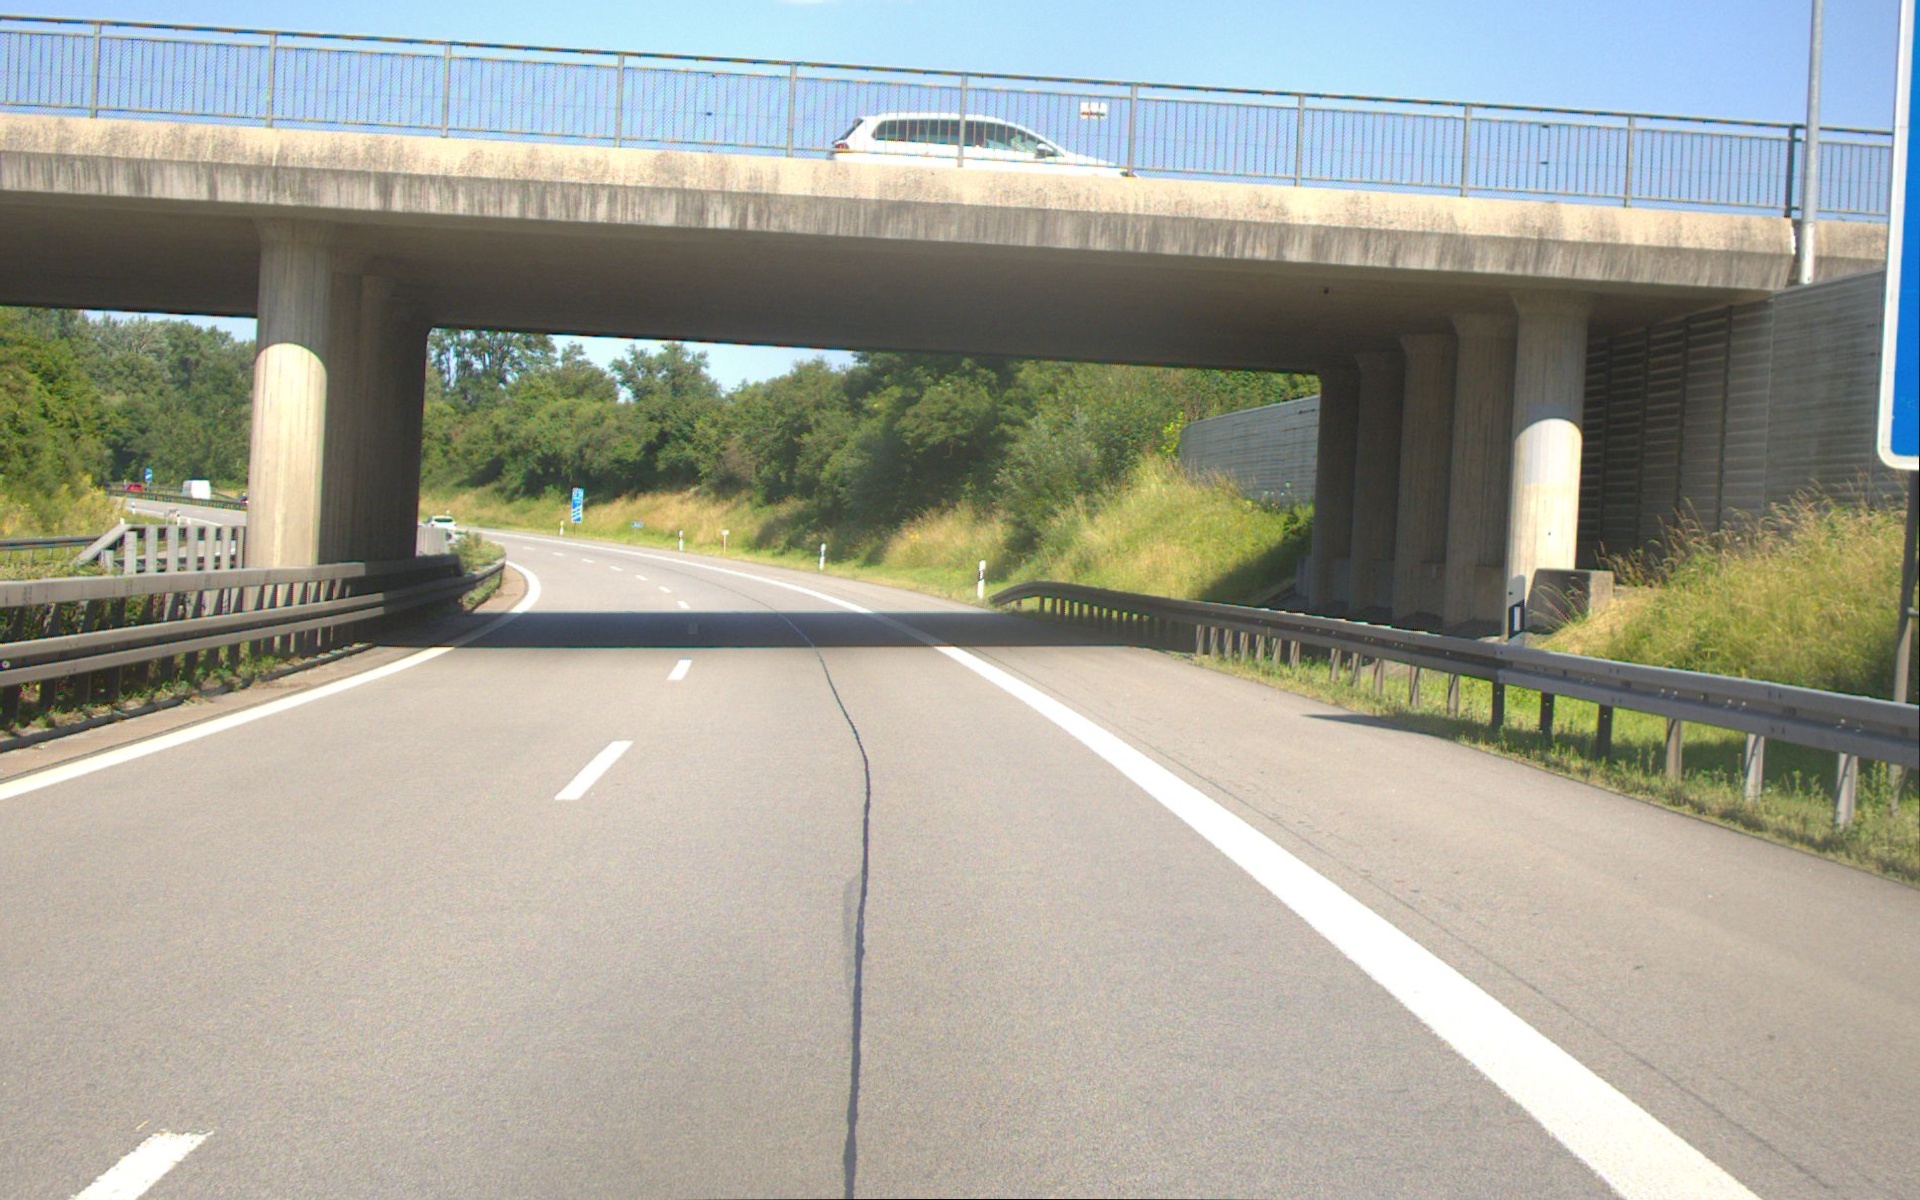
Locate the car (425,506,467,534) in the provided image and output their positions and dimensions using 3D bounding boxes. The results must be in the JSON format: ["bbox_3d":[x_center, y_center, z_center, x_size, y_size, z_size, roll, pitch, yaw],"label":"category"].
[{"bbox_3d":[-31.358,-4.897,209.793,2.061,1.619,4.001,1,0,-15],"label":"car"}]

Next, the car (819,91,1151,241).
[{"bbox_3d":[0.304,-5.980,47.567,4.400,1.592,2.000,3,0,-4],"label":"car"}]

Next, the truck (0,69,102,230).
[{"bbox_3d":[-15.656,-6.844,52.064,4.855,2.160,2.000,1,0,-4],"label":"truck"}]
